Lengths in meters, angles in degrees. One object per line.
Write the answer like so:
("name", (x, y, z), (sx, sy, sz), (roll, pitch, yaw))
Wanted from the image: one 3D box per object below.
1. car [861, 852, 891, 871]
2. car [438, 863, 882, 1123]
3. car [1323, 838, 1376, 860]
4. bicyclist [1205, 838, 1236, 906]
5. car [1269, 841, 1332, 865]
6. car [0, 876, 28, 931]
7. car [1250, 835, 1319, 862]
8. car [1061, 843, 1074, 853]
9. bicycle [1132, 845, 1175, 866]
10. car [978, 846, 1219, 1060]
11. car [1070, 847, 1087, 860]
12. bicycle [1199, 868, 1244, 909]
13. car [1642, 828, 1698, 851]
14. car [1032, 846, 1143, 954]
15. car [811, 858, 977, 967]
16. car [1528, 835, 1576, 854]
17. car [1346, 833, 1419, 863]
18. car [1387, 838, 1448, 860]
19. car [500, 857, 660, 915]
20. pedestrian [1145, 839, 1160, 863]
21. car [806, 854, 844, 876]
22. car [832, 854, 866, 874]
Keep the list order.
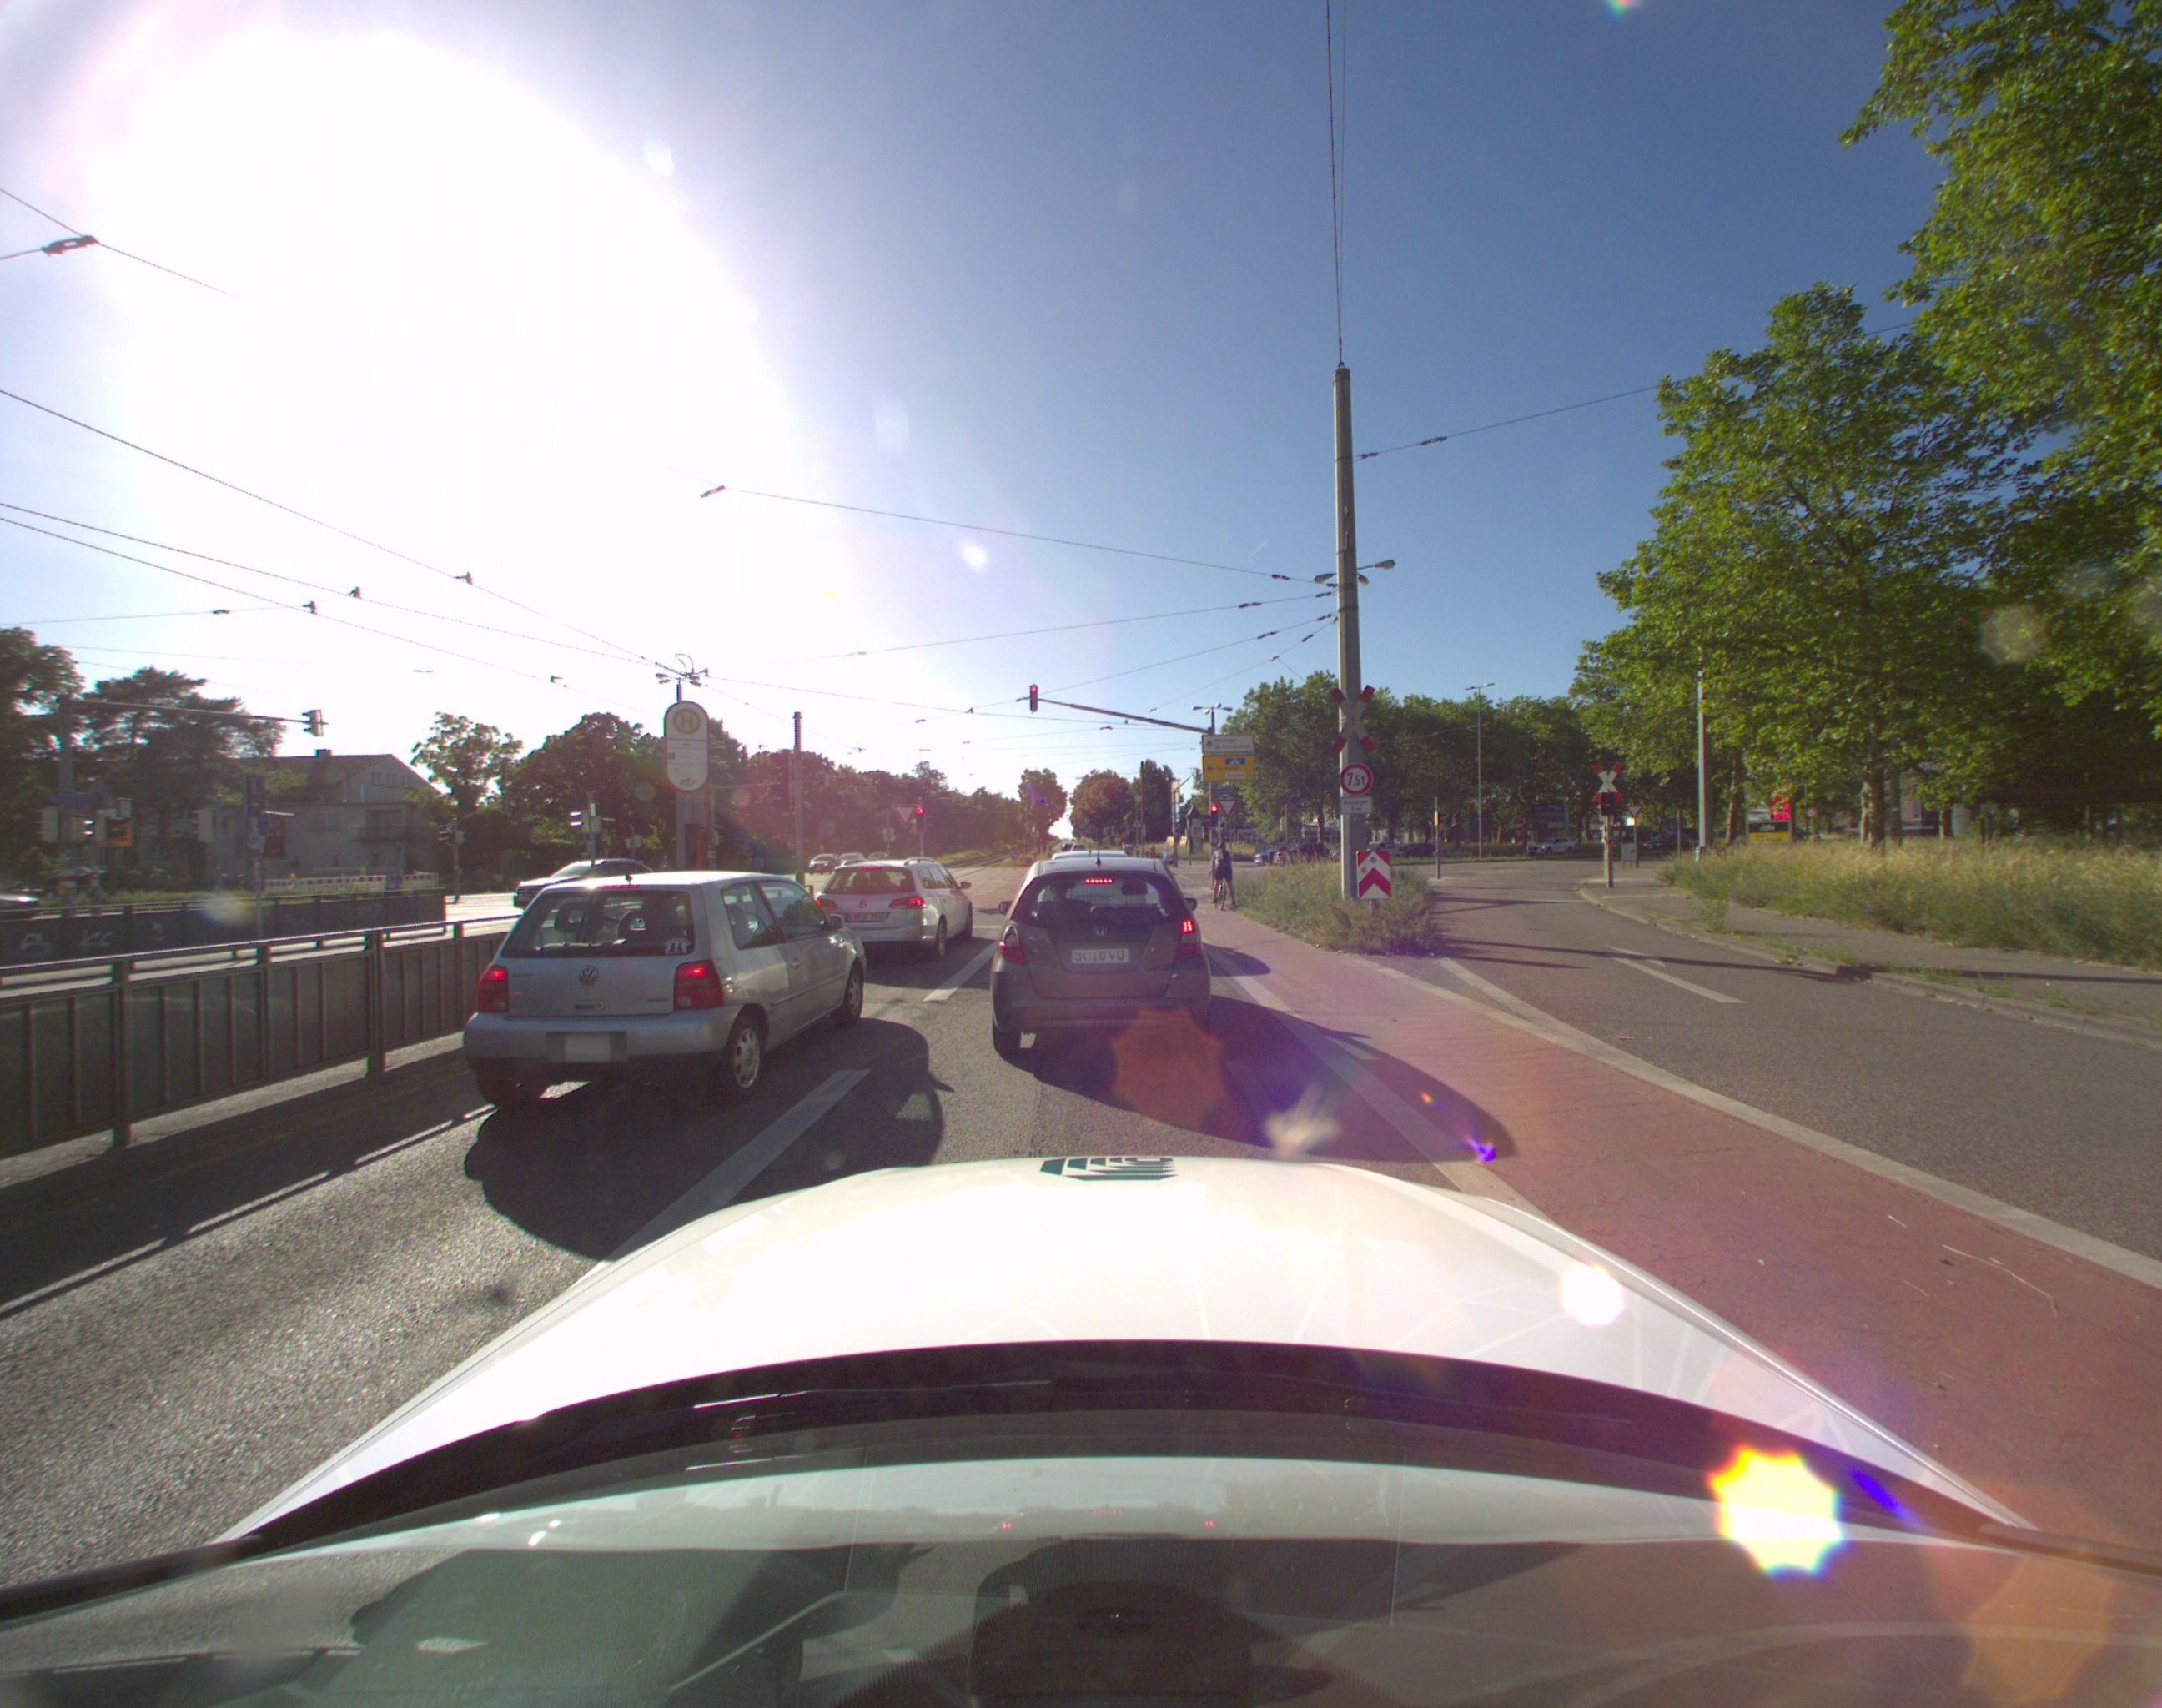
("car", (-18.779, 0.674, 74.758), (1.991, 1.604, 4.745), (0, 0, -6))
("car", (-2.826, 0.816, 6.338), (1.613, 1.417, 3.352), (-2, 0, 1))
("car", (20.676, -0.389, 62.779), (3.757, 1.570, 1.480), (-2, 0, -21))
("bicyclist", (3.634, 0.460, 21.228), (0.663, 1.716, 0.948), (0, -1, 1))
("car", (15.020, -0.084, 55.795), (4.002, 1.531, 1.594), (-2, 0, -22))
("car", (-32.024, 1.438, 21.501), (4.844, 1.497, 1.771), (-2, 0, -25))
("car", (15.031, -0.374, 60.088), (4.705, 1.879, 1.986), (0, -1, -22))
("car", (-1.908, -0.794, 111.435), (1.520, 1.378, 3.670), (-2, 0, -5))
("bicycle", (5.615, 0.119, 62.957), (3.218, 1.574, 0.815), (-2, 0, -24))
("car", (0.111, 0.688, 7.495), (1.663, 1.462, 3.585), (-1, 0, -1))
("car", (-0.301, -0.043, 95.091), (1.707, 1.478, 3.994), (-2, 0, -4))
("bicycle", (3.635, 0.866, 21.306), (0.719, 0.989, 2.876), (0, 0, 1))
("car", (48.597, -1.217, 67.217), (4.218, 1.774, 1.842), (-2, 0, -23))
("car", (0.148, 0.678, 14.135), (1.605, 1.562, 4.289), (-1, 0, 1))
("car", (-2.775, 0.798, 12.986), (1.613, 1.457, 4.086), (-1, 0, 1))
("car", (41.420, -0.830, 71.578), (4.005, 1.501, 1.580), (-2, 0, -24))
("car", (21.959, -0.445, 59.253), (4.906, 2.013, 1.986), (-2, 0, -22))
("car", (26.887, -0.410, 65.054), (4.526, 1.574, 1.681), (-2, 0, -21))
("car", (-15.116, 0.933, 24.852), (1.574, 1.544, 4.004), (-2, 0, 20))
("pedestrian", (5.550, -0.247, 62.947), (0.856, 1.836, 0.784), (-2, 0, -24))
("car", (-19.015, 0.810, 60.709), (1.829, 1.548, 3.993), (-2, 0, -5))
("car", (-18.913, 0.818, 66.501), (1.829, 1.548, 4.277), (-2, 0, -5))
